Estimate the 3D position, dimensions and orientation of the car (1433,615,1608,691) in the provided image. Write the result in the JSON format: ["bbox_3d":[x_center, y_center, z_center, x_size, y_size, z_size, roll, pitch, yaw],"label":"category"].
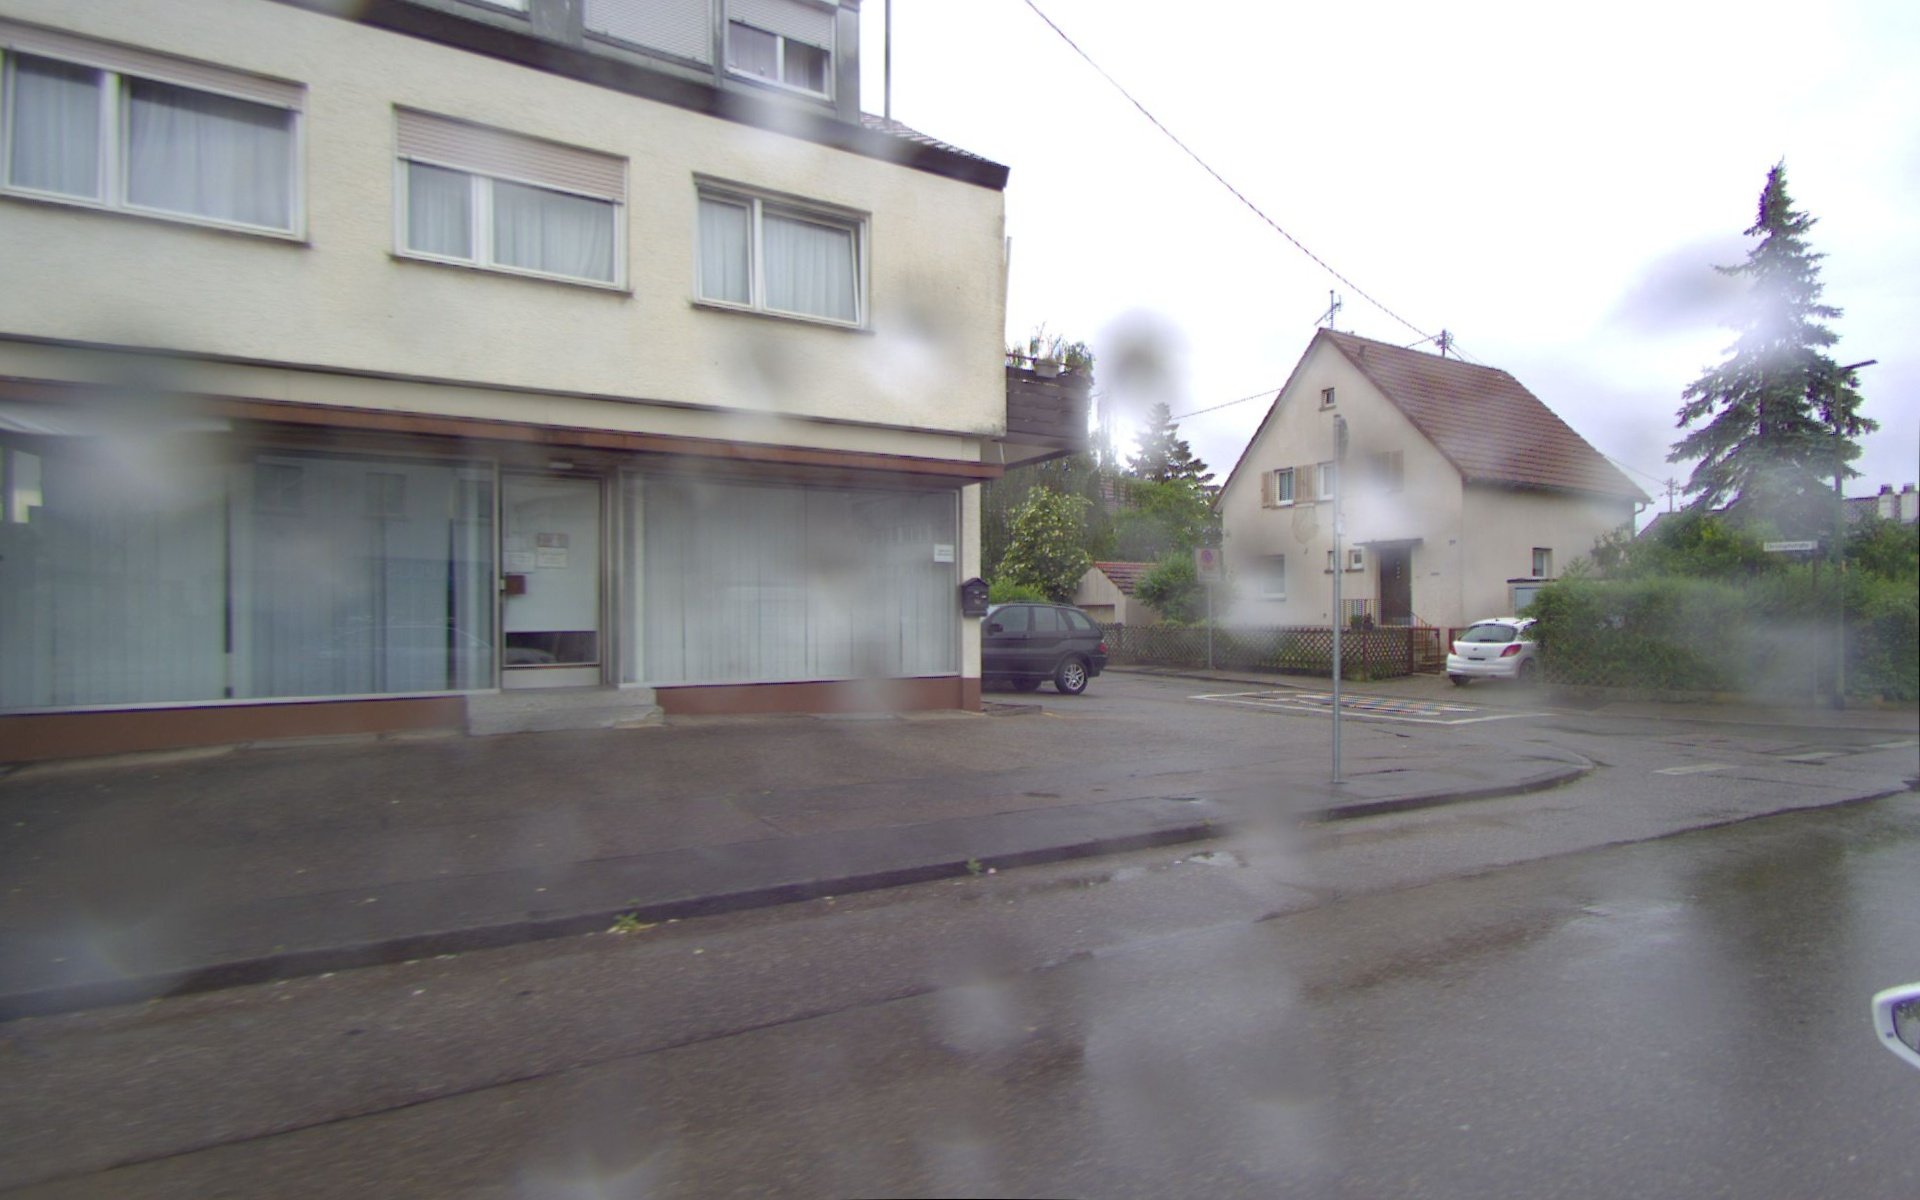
[{"bbox_3d":[12.940,1.155,23.150,3.954,1.528,1.785,-1,0,-31],"label":"car"}]

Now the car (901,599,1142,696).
[{"bbox_3d":[1.266,0.970,19.929,4.495,1.680,1.849,4,-2,-32],"label":"car"}]
